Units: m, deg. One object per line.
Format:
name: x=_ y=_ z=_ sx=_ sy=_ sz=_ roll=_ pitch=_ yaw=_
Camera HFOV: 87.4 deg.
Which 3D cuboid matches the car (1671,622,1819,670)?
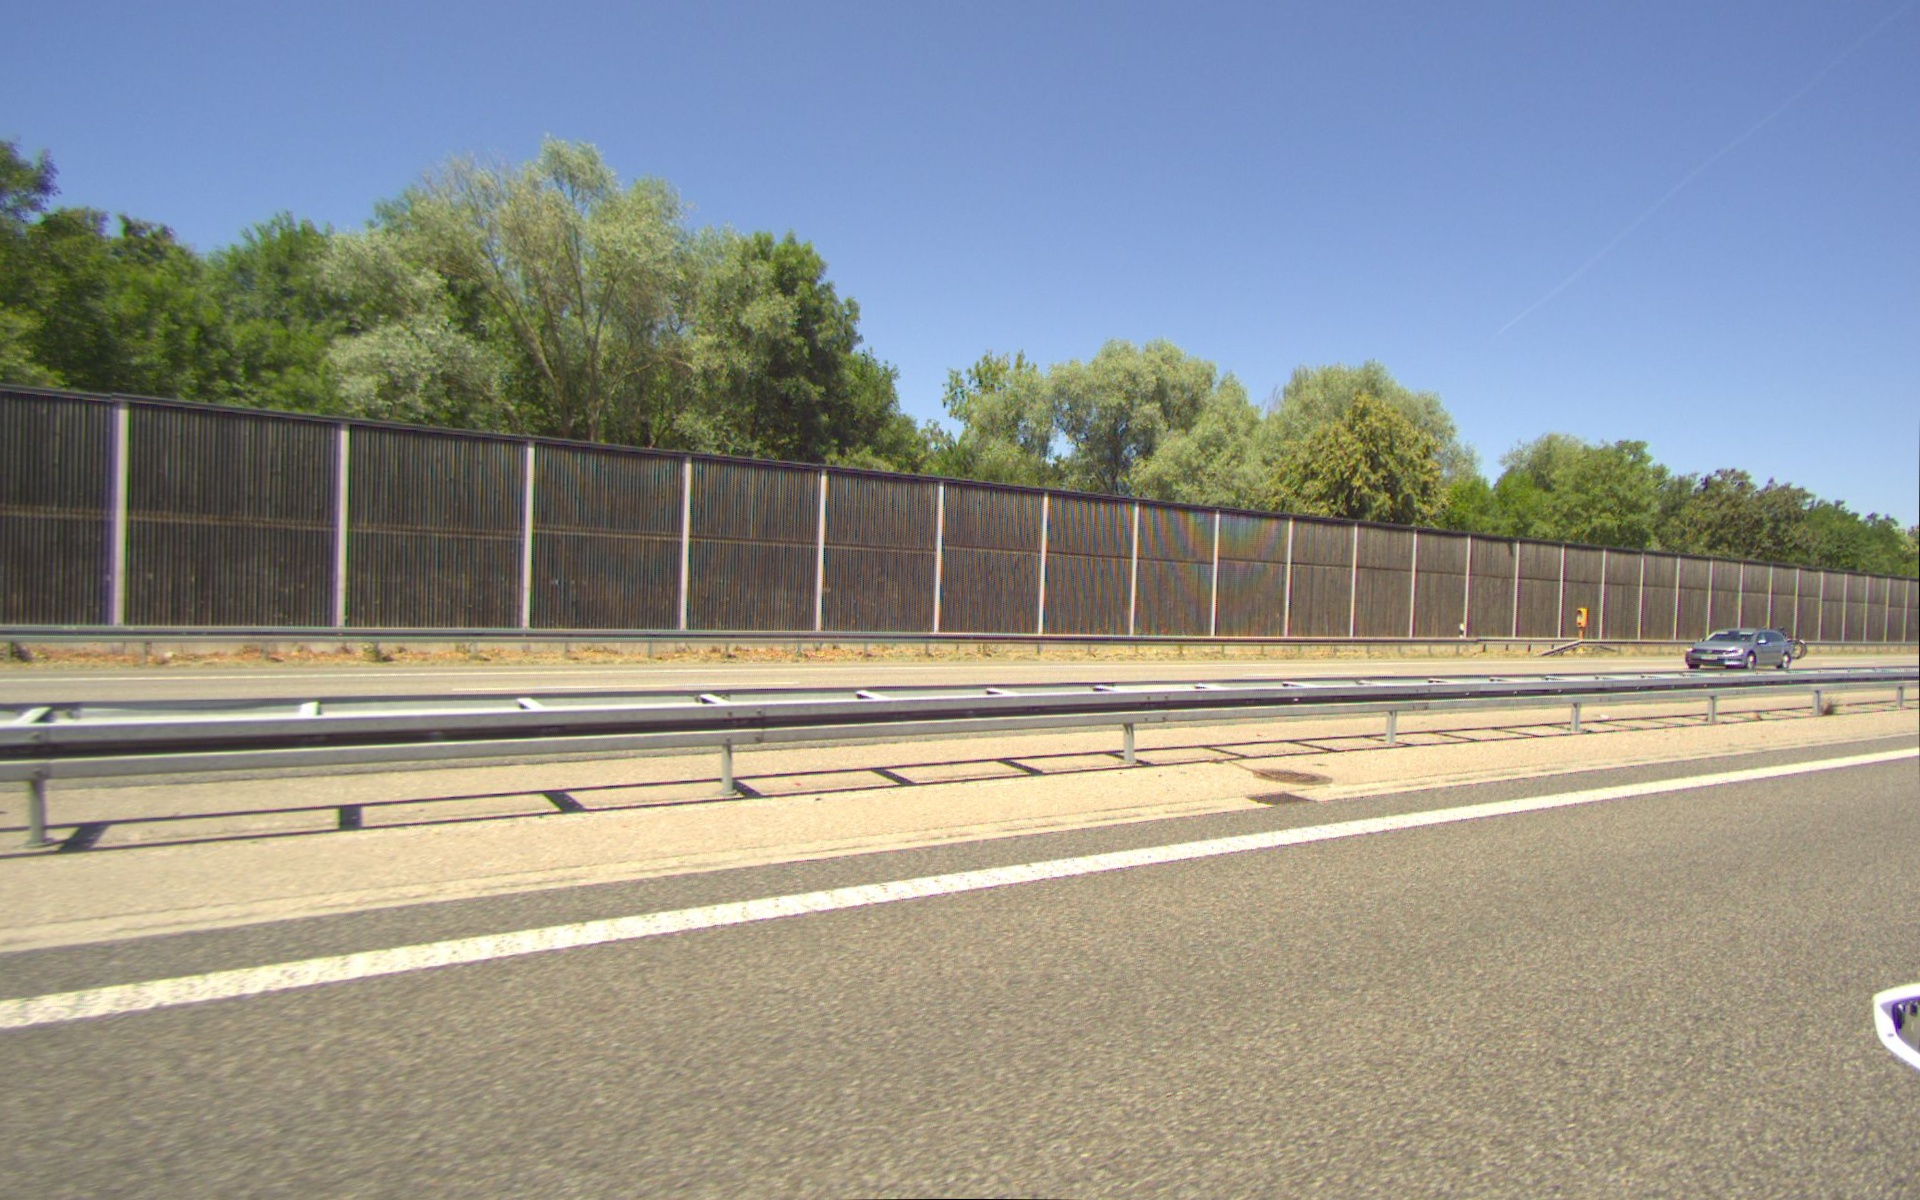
car: x=27.889 y=1.593 z=35.636 sx=5.912 sy=1.542 sz=2.114 roll=2 pitch=0 yaw=-30
